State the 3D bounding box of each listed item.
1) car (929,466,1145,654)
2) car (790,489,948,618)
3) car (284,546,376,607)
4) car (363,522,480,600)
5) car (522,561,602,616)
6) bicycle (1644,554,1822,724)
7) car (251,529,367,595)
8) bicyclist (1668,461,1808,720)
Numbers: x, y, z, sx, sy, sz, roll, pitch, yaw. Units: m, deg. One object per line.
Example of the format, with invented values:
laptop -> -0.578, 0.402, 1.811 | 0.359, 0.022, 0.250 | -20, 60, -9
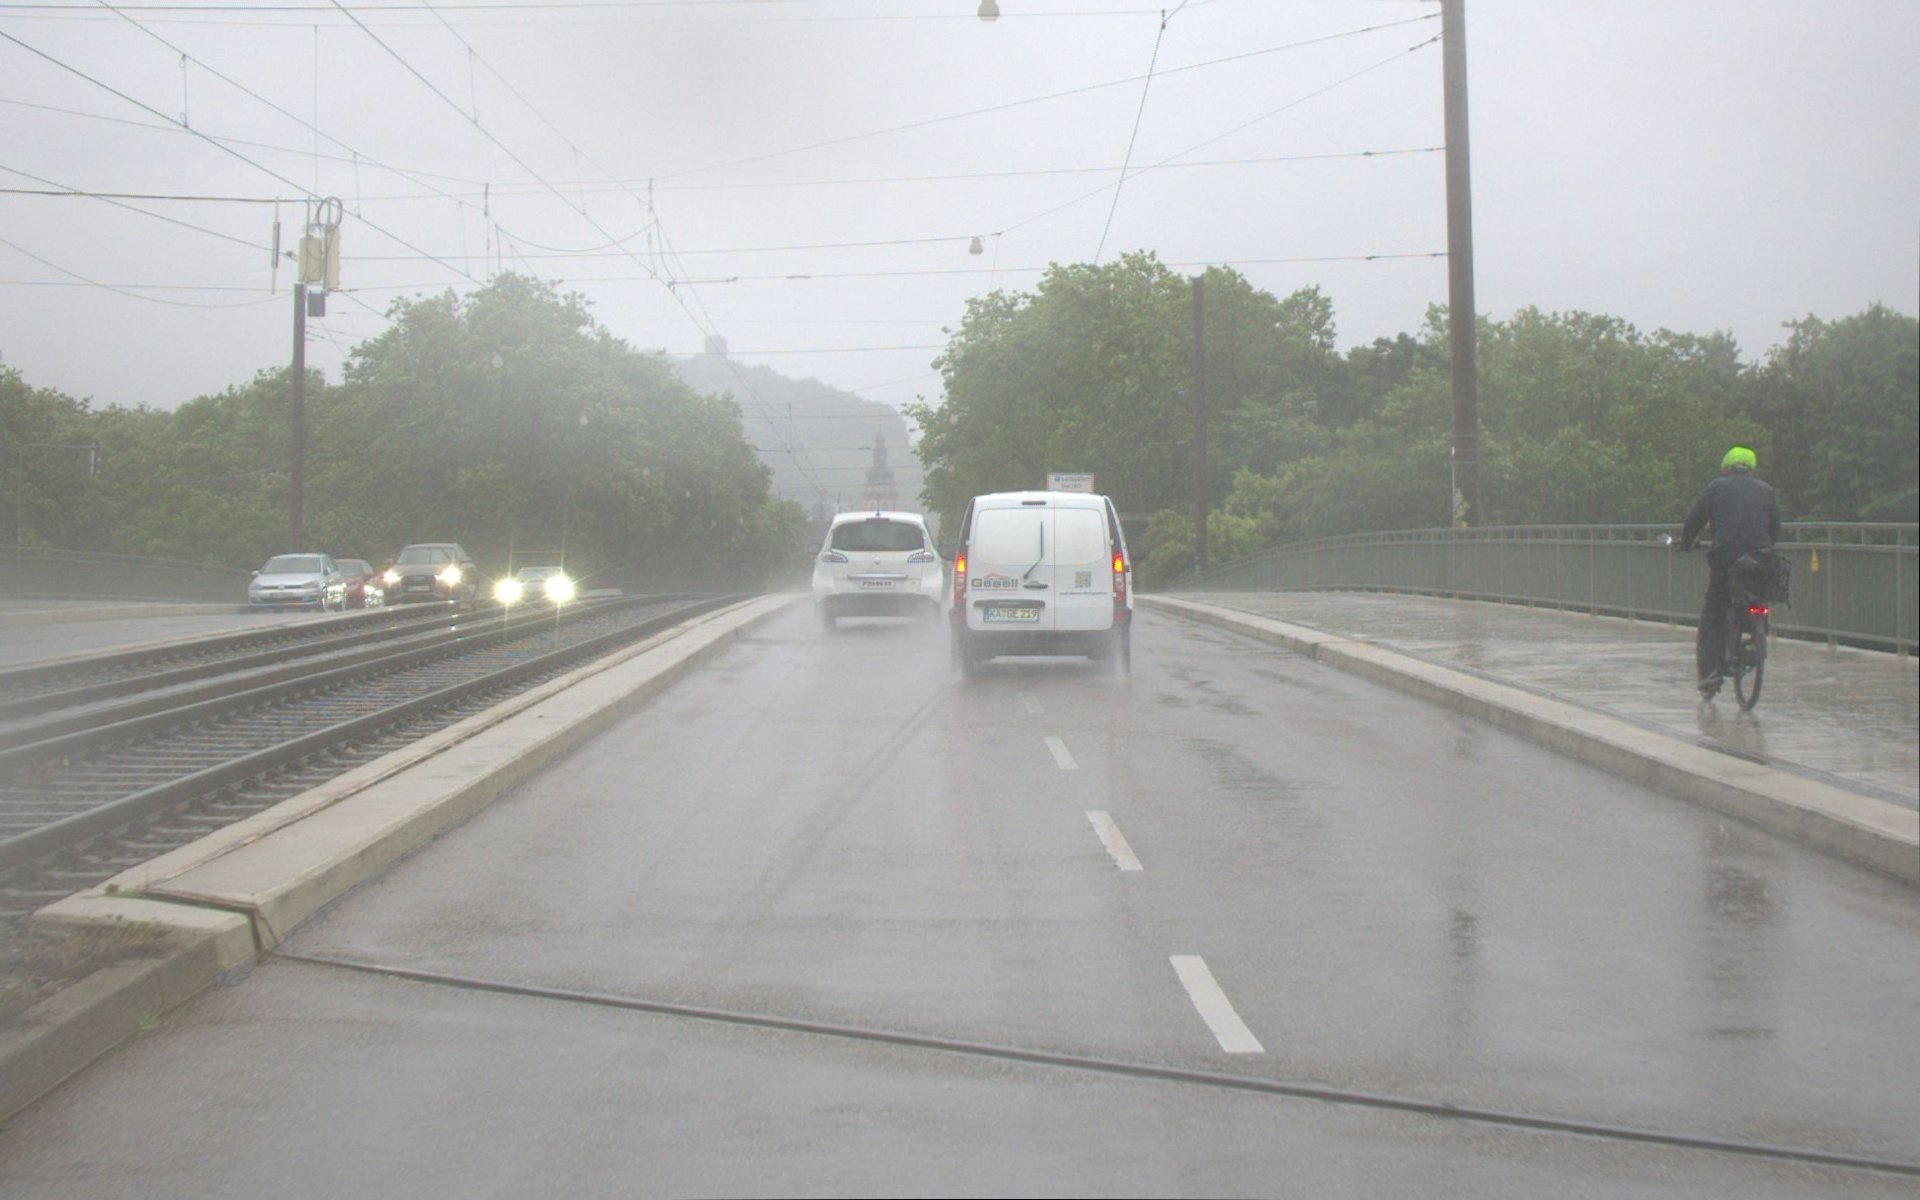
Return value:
car -> 0.779, -0.367, 34.362 | 1.993, 1.720, 4.000 | 1, 0, 2
car -> -1.239, -0.624, 48.764 | 1.993, 1.711, 4.000 | 1, 0, 2
car -> -16.148, -0.582, 88.275 | 1.620, 1.451, 4.322 | -2, 0, -1
car -> -12.713, -0.892, 81.461 | 1.993, 1.711, 4.941 | -2, 0, -1
car -> -11.777, -0.322, 102.090 | 1.993, 1.504, 5.114 | -2, 0, -3
bicycle -> 5.391, 0.252, 24.096 | 0.723, 1.125, 2.168 | 1, 1, 0
car -> -15.667, -0.891, 82.931 | 1.993, 1.451, 4.620 | -2, 0, -1
bicyclist -> 5.427, -0.061, 24.023 | 0.725, 1.758, 0.949 | 1, 0, 0
